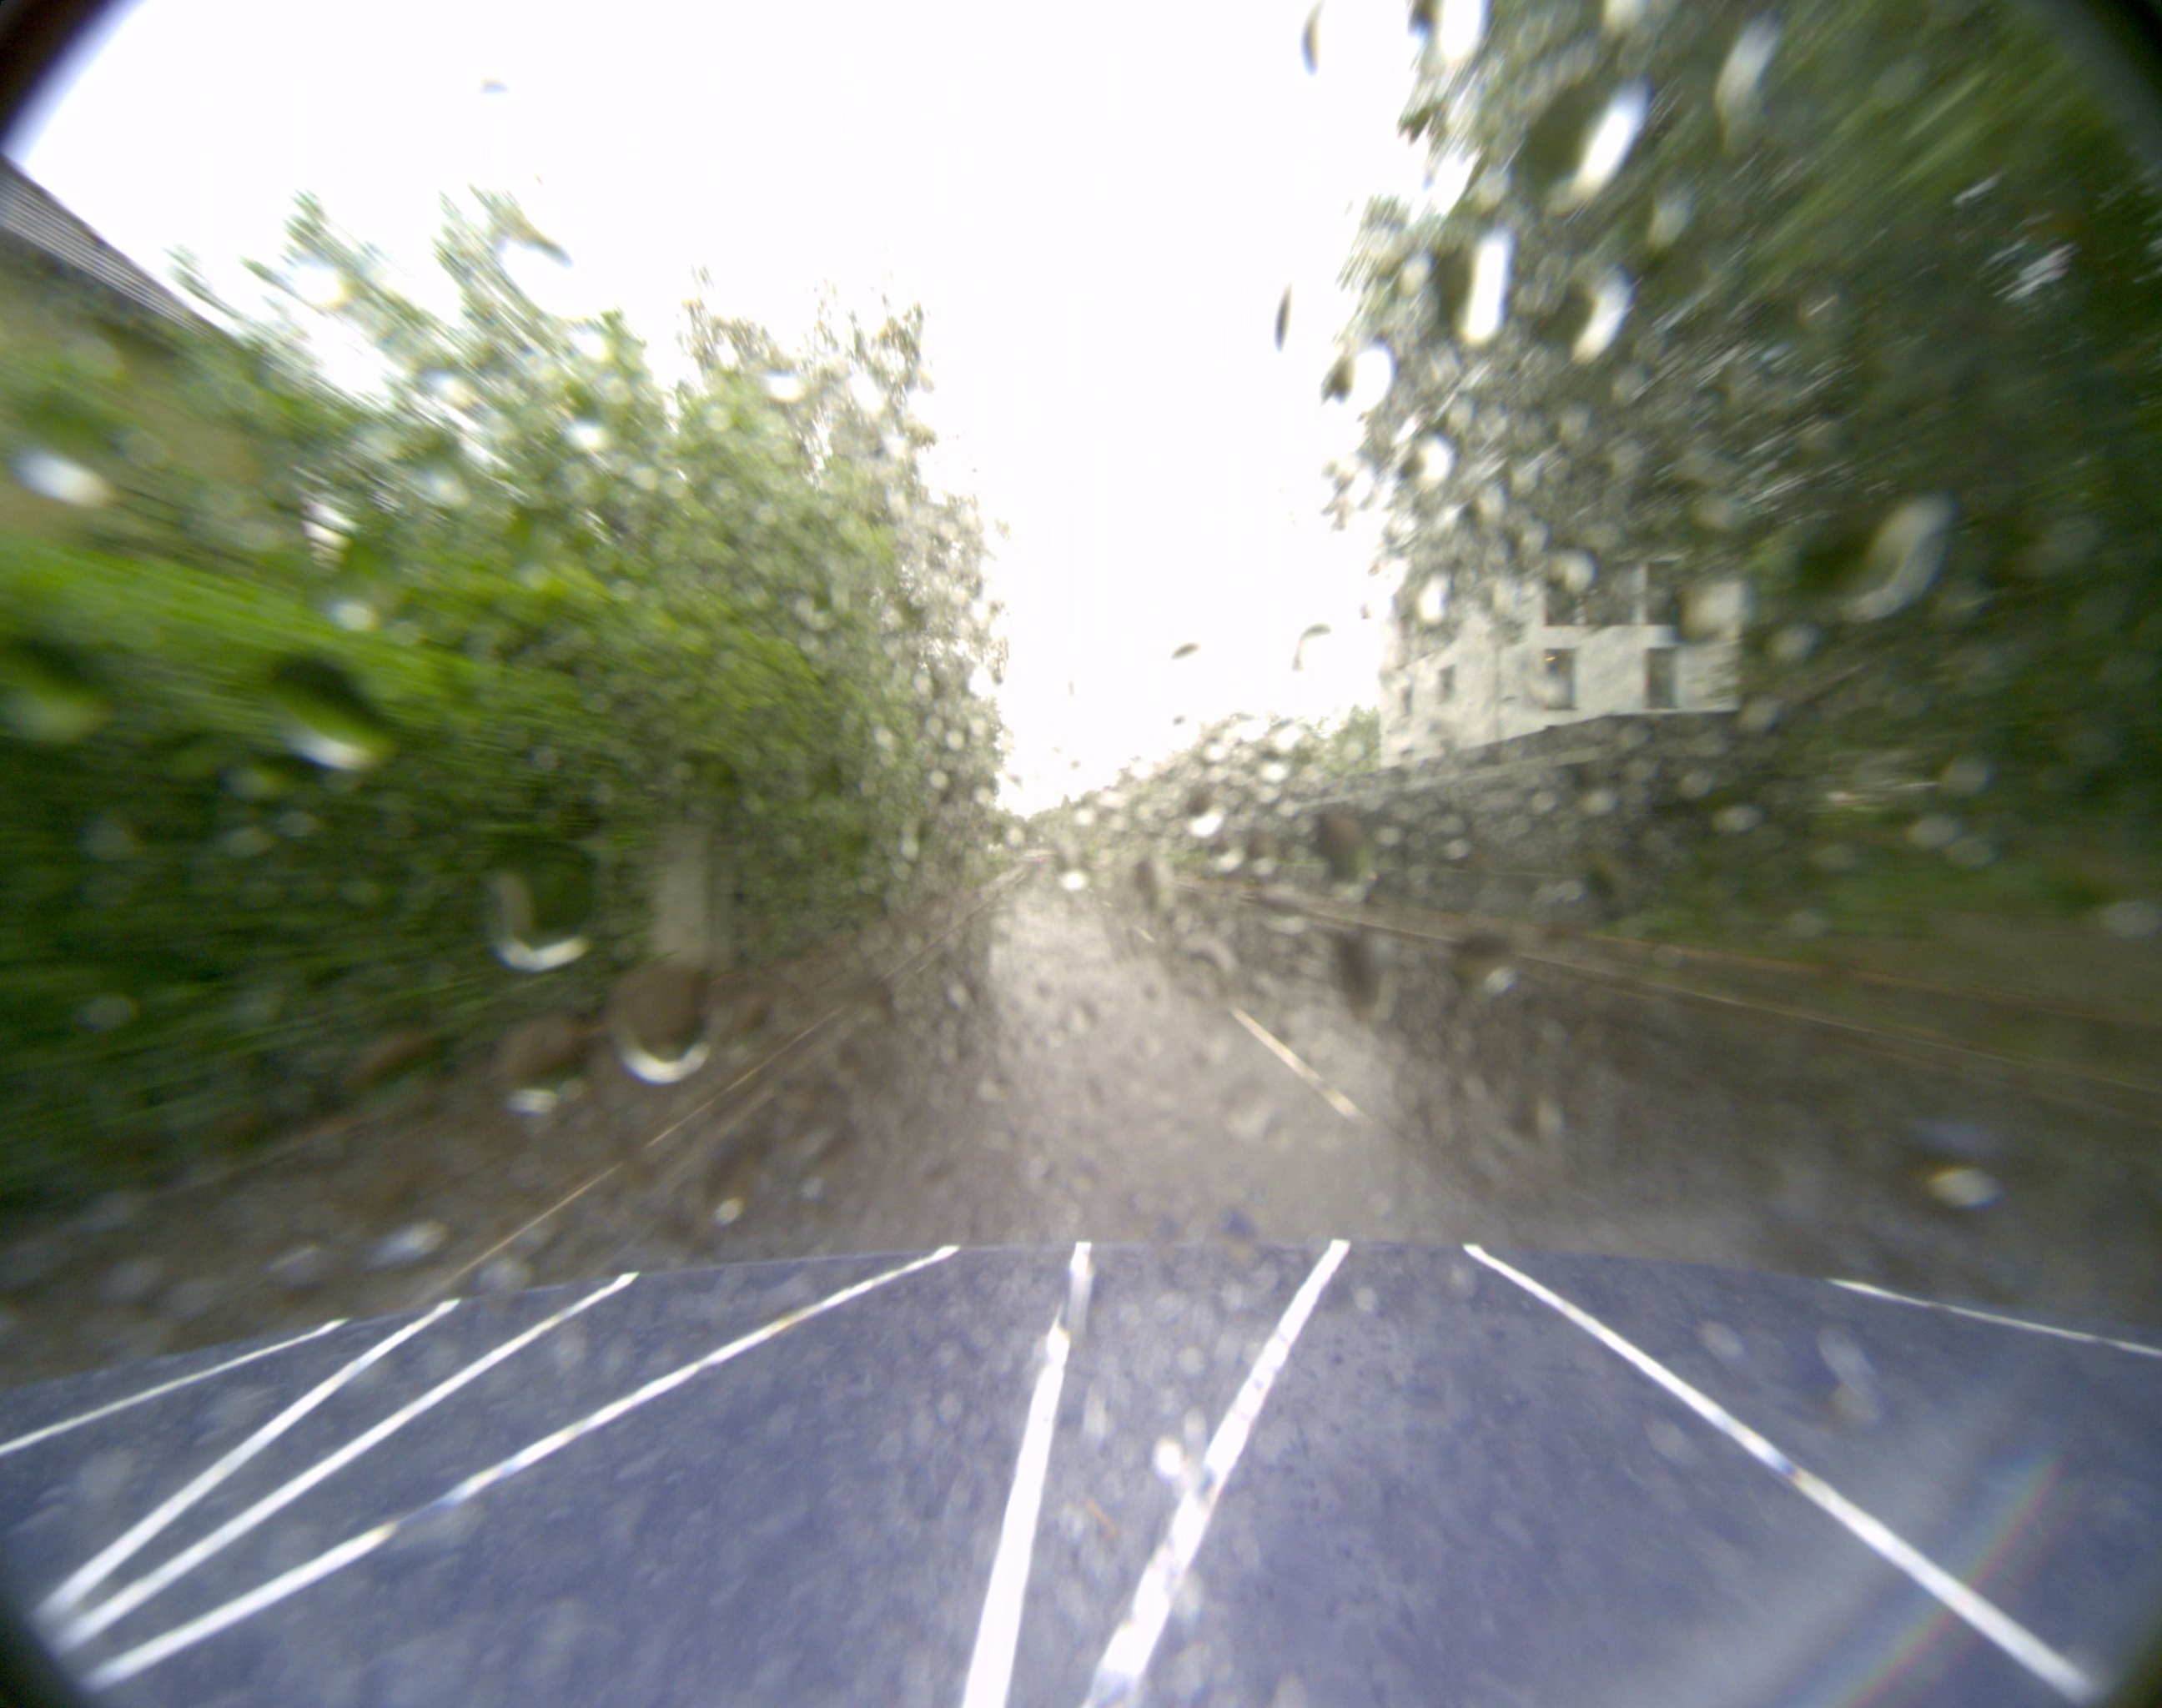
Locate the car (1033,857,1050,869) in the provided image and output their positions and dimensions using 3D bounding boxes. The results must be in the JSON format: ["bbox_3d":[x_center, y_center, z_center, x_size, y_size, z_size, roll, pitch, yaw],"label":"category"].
[{"bbox_3d":[-4.862,1.137,94.947,1.999,1.445,4.427,-2,0,-2],"label":"car"}]
